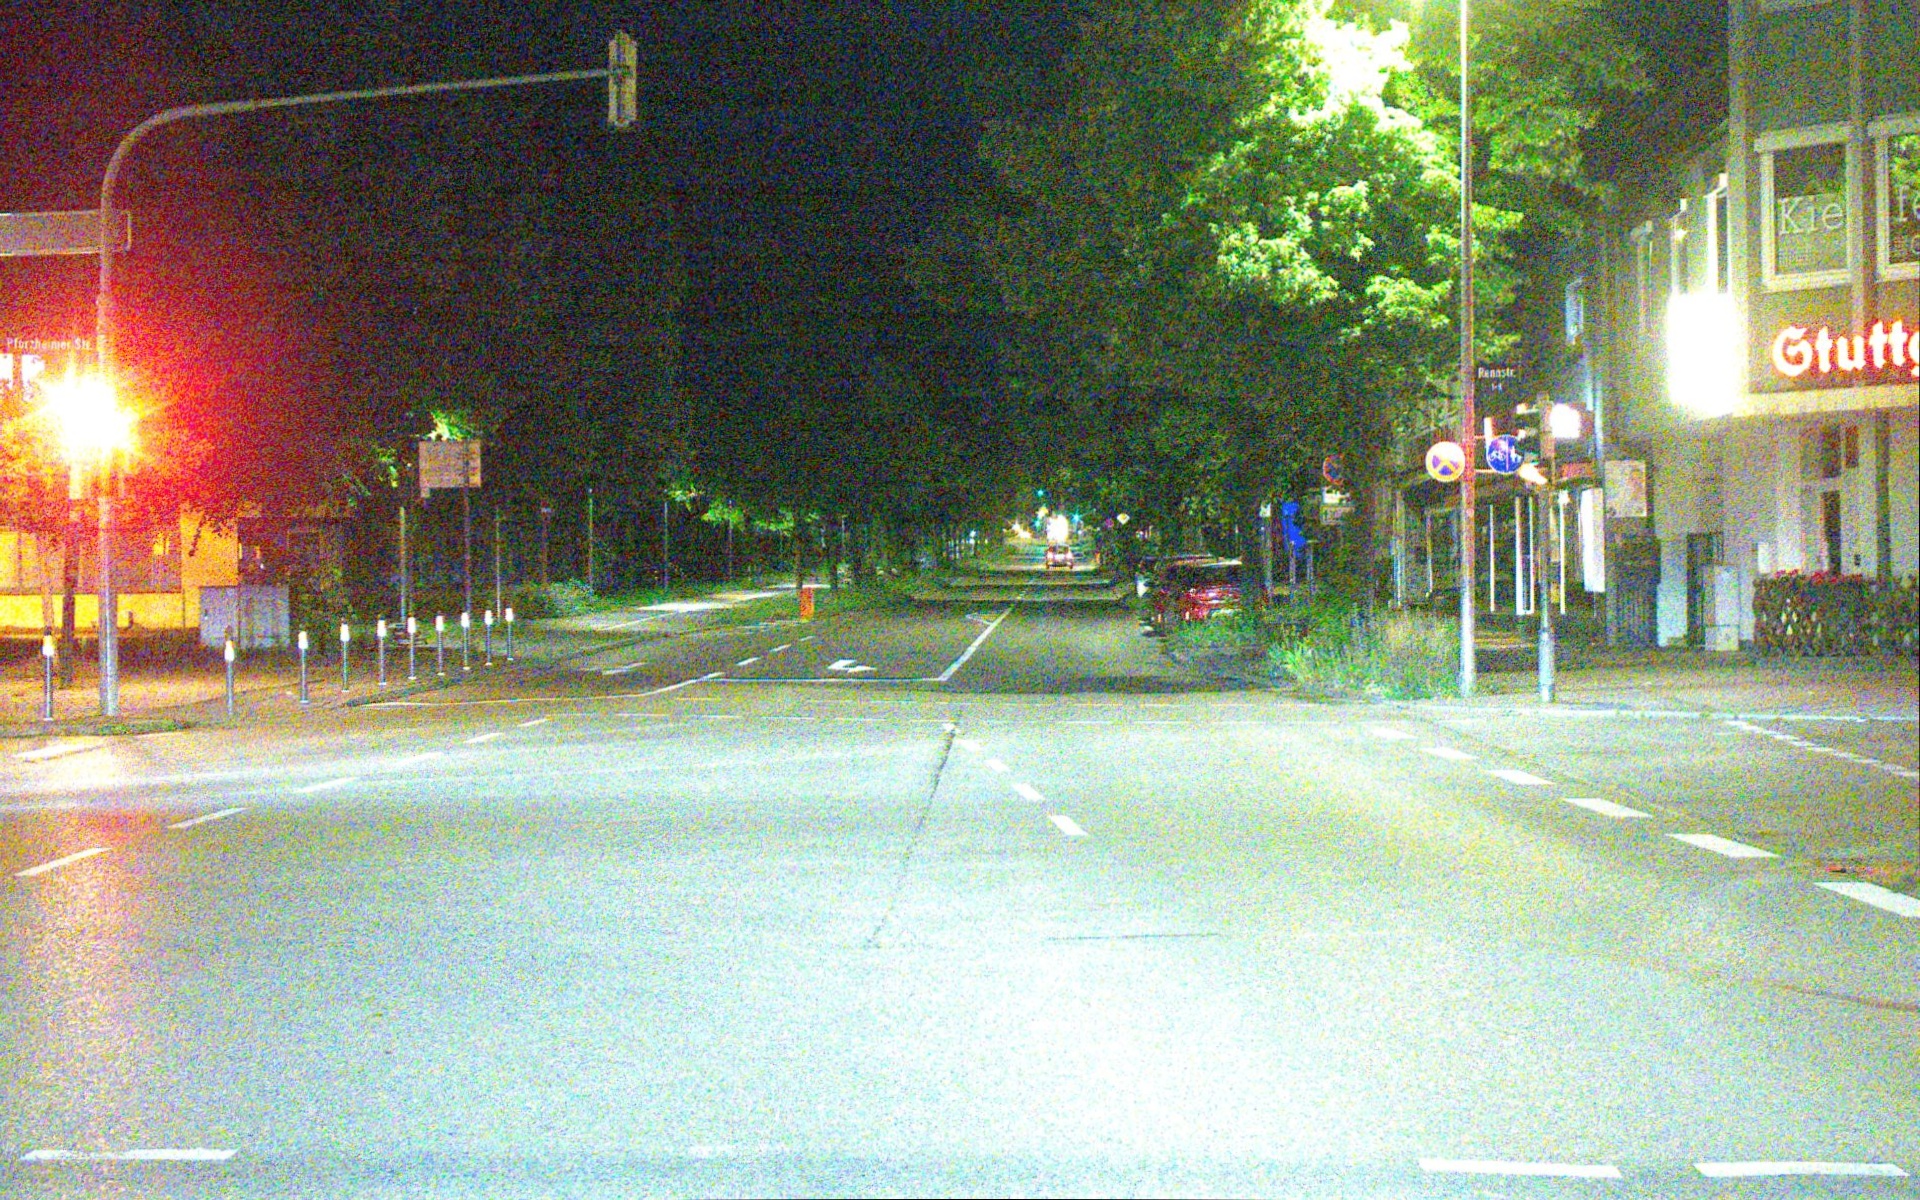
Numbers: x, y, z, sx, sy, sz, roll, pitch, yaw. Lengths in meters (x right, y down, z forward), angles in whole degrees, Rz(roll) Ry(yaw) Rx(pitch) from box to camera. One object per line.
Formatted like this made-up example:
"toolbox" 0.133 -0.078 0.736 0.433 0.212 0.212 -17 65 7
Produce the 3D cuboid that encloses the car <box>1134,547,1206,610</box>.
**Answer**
"car" 5.743 -0.602 94.539 1.876 1.678 4.000 0 1 2

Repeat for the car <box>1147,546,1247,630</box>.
"car" 4.707 -0.258 68.807 1.876 1.610 4.000 0 1 2

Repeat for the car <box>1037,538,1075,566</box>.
"car" 5.775 -2.881 207.088 2.227 1.645 4.000 0 1 1

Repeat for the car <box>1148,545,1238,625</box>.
"car" 5.167 -0.338 76.478 1.876 1.723 4.000 0 1 2

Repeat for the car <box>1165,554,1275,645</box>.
"car" 4.764 -0.034 63.516 1.876 1.610 4.000 0 1 2
